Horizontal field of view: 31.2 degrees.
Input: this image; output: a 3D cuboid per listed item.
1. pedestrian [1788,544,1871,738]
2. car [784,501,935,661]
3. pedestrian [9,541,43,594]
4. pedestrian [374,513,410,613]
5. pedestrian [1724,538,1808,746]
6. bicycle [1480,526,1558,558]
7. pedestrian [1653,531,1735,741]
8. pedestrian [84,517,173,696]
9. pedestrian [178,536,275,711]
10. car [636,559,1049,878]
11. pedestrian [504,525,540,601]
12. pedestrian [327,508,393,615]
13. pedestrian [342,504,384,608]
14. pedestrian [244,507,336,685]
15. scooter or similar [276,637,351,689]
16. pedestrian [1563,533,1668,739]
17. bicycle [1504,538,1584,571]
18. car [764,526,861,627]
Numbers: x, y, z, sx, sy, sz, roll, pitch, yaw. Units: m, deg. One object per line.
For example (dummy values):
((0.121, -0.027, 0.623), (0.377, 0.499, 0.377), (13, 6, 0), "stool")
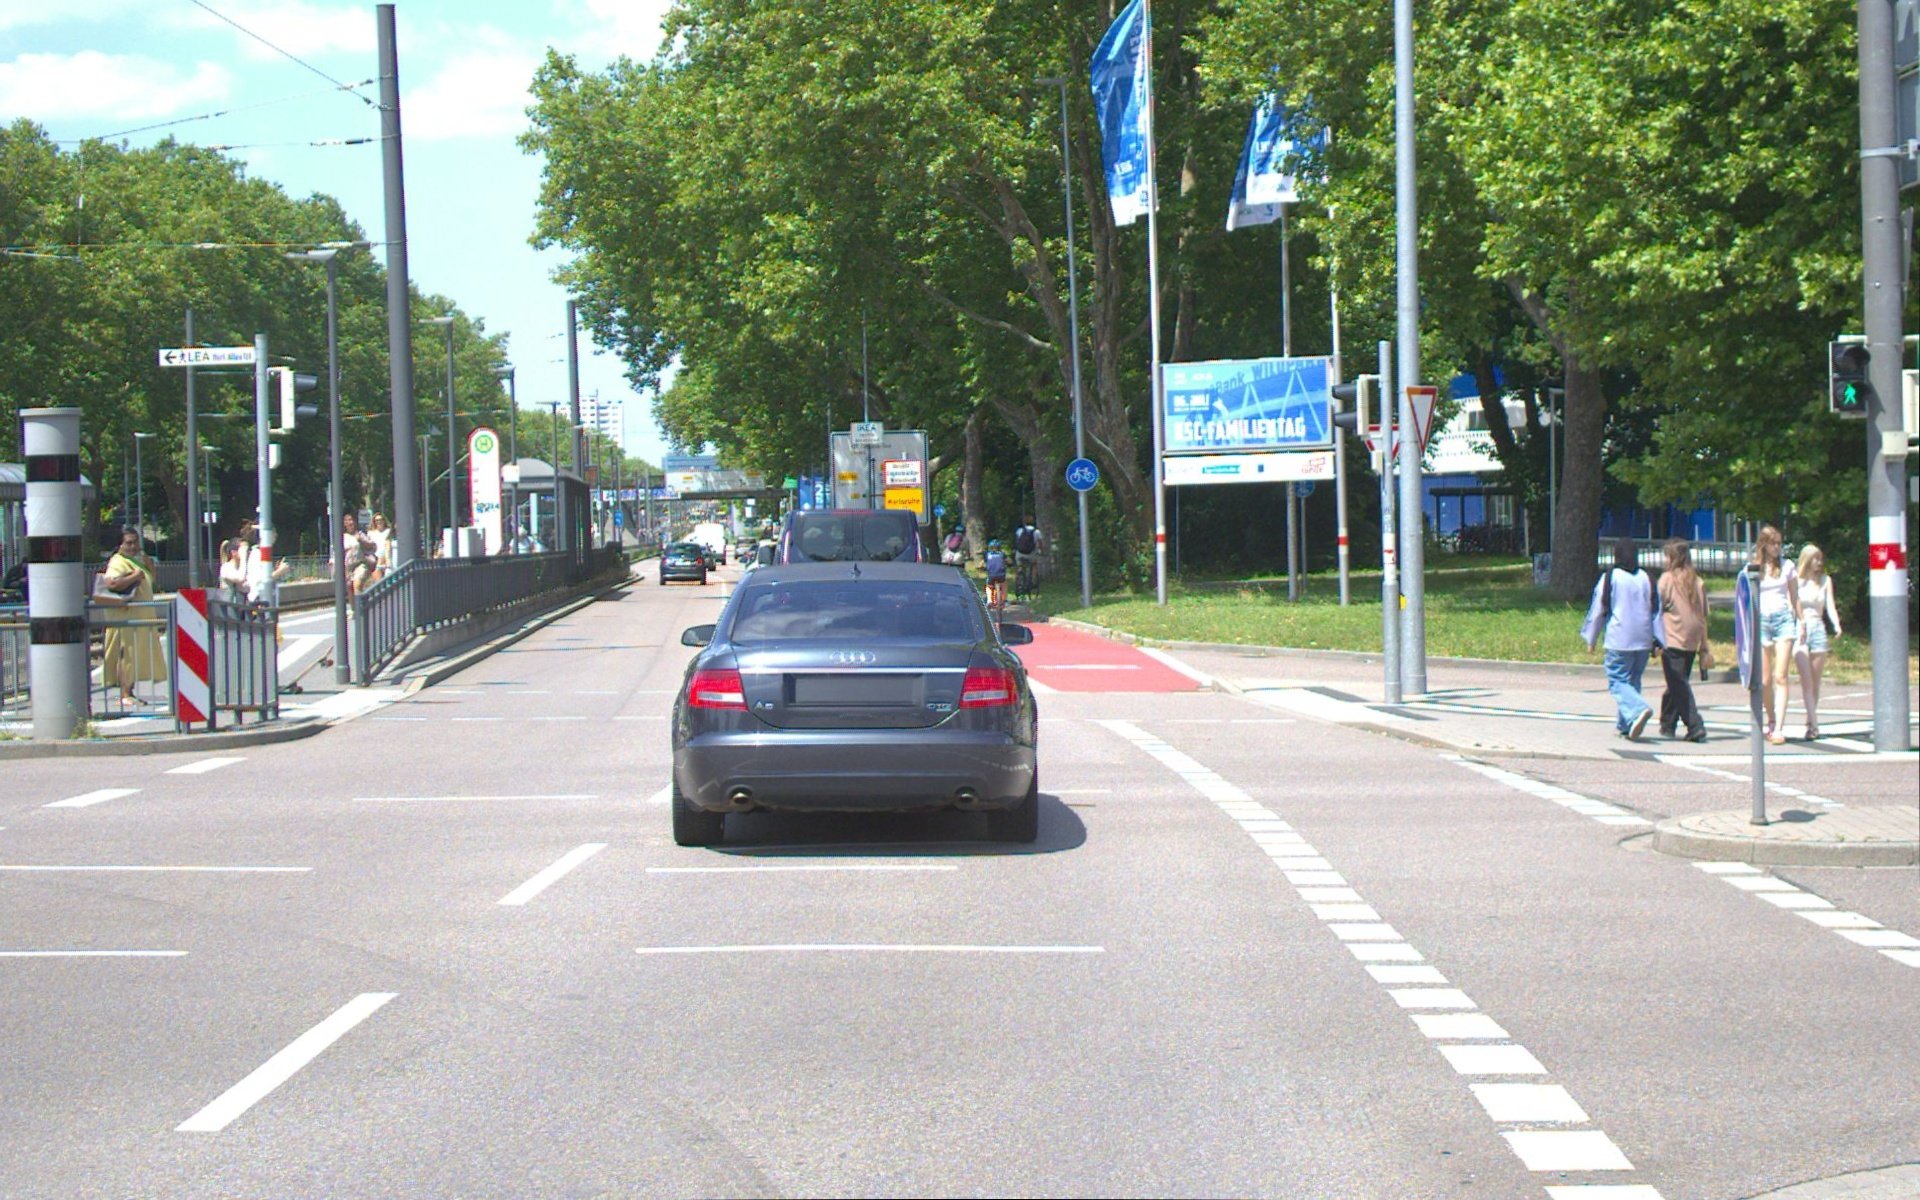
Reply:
((7.116, 0.327, 28.149), (0.527, 1.574, 0.612), (0, 1, 1), "pedestrian")
((-1.297, -0.263, 44.144), (1.848, 1.953, 4.145), (0, 1, -2), "car")
((-21.164, -0.730, 77.906), (0.576, 1.186, 0.639), (-1, 1, -3), "pedestrian")
((-8.999, -0.590, 54.456), (0.497, 1.572, 0.557), (-1, 1, -5), "pedestrian")
((6.496, 0.327, 27.719), (0.527, 1.660, 0.640), (0, 1, 1), "pedestrian")
((19.212, -1.995, 118.169), (2.545, 1.107, 0.759), (0, 1, -8), "bicycle")
((5.950, 0.281, 27.846), (0.623, 1.677, 0.725), (0, 1, 14), "pedestrian")
((-7.821, 0.056, 32.347), (0.732, 1.667, 0.679), (0, 1, -7), "pedestrian")
((-6.650, 0.206, 31.208), (0.785, 1.567, 0.765), (0, 1, -7), "pedestrian")
((-0.503, 0.548, 18.176), (1.842, 1.479, 4.000), (1, 0, 3), "car")
((-9.714, -0.825, 76.293), (0.732, 1.660, 0.742), (-1, 1, -4), "pedestrian")
((-9.166, -0.594, 52.524), (0.890, 1.599, 0.924), (-1, 1, -5), "pedestrian")
((-9.675, -0.717, 55.729), (0.613, 1.675, 0.720), (0, 1, -5), "pedestrian")
((-6.876, -0.051, 35.306), (0.862, 1.796, 0.884), (0, 1, -7), "pedestrian")
((-6.677, 0.652, 35.542), (0.726, 0.504, 0.457), (-1, 1, -7), "scooter or similar")
((5.196, 0.270, 27.242), (0.765, 1.601, 0.896), (0, 1, 14), "pedestrian")
((19.710, -1.532, 116.087), (2.545, 1.107, 0.759), (0, 1, -8), "bicycle")
((-2.911, -0.489, 68.284), (1.848, 1.953, 4.145), (0, 1, -2), "car")
